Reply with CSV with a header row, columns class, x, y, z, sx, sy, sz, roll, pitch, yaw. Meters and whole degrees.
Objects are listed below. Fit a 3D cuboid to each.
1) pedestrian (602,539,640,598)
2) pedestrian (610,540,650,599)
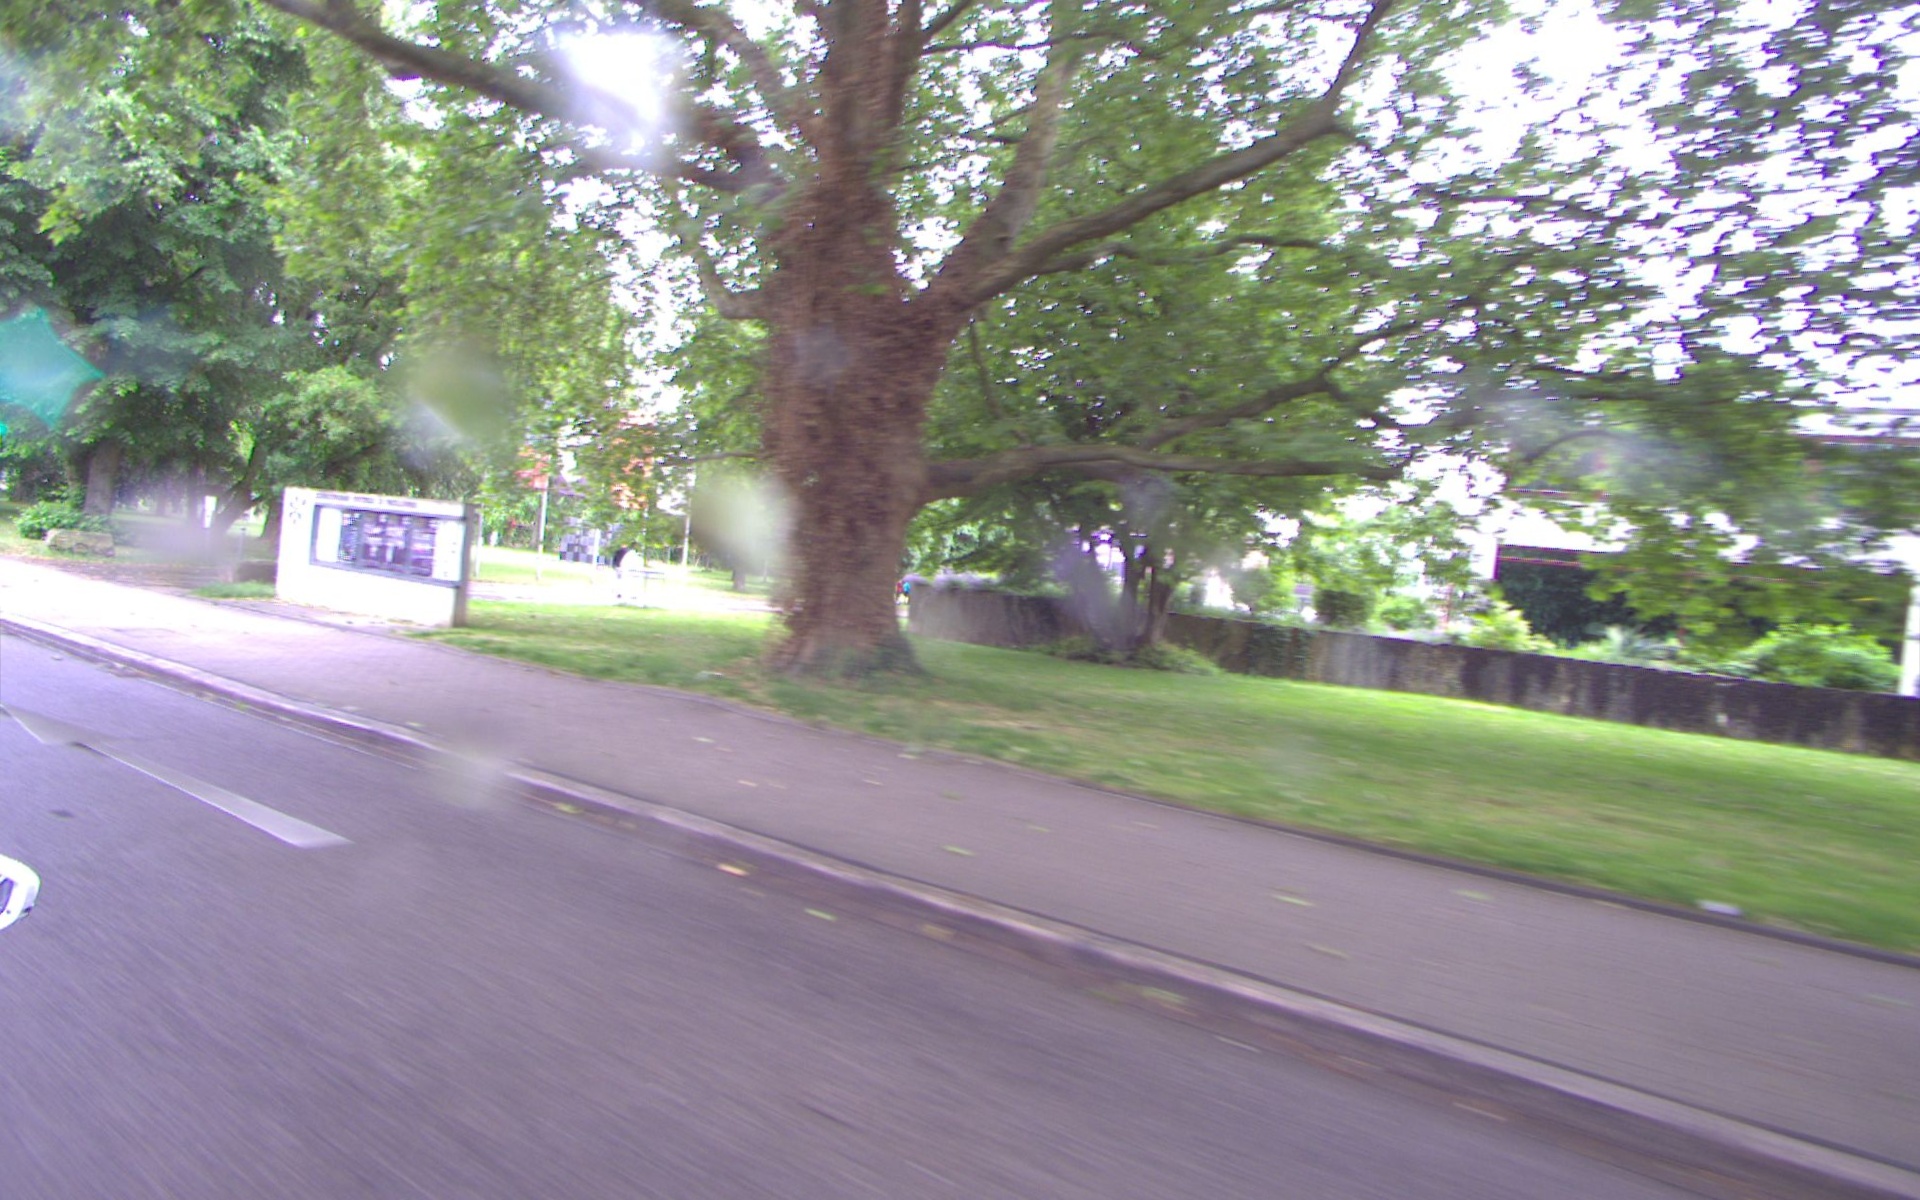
class,x,y,z,sx,sy,sz,roll,pitch,yaw
pedestrian,-10.985,-1.005,32.563,0.711,1.776,0.666,6,-1,23
pedestrian,-10.372,-0.962,31.654,0.776,1.732,0.666,6,-1,23
